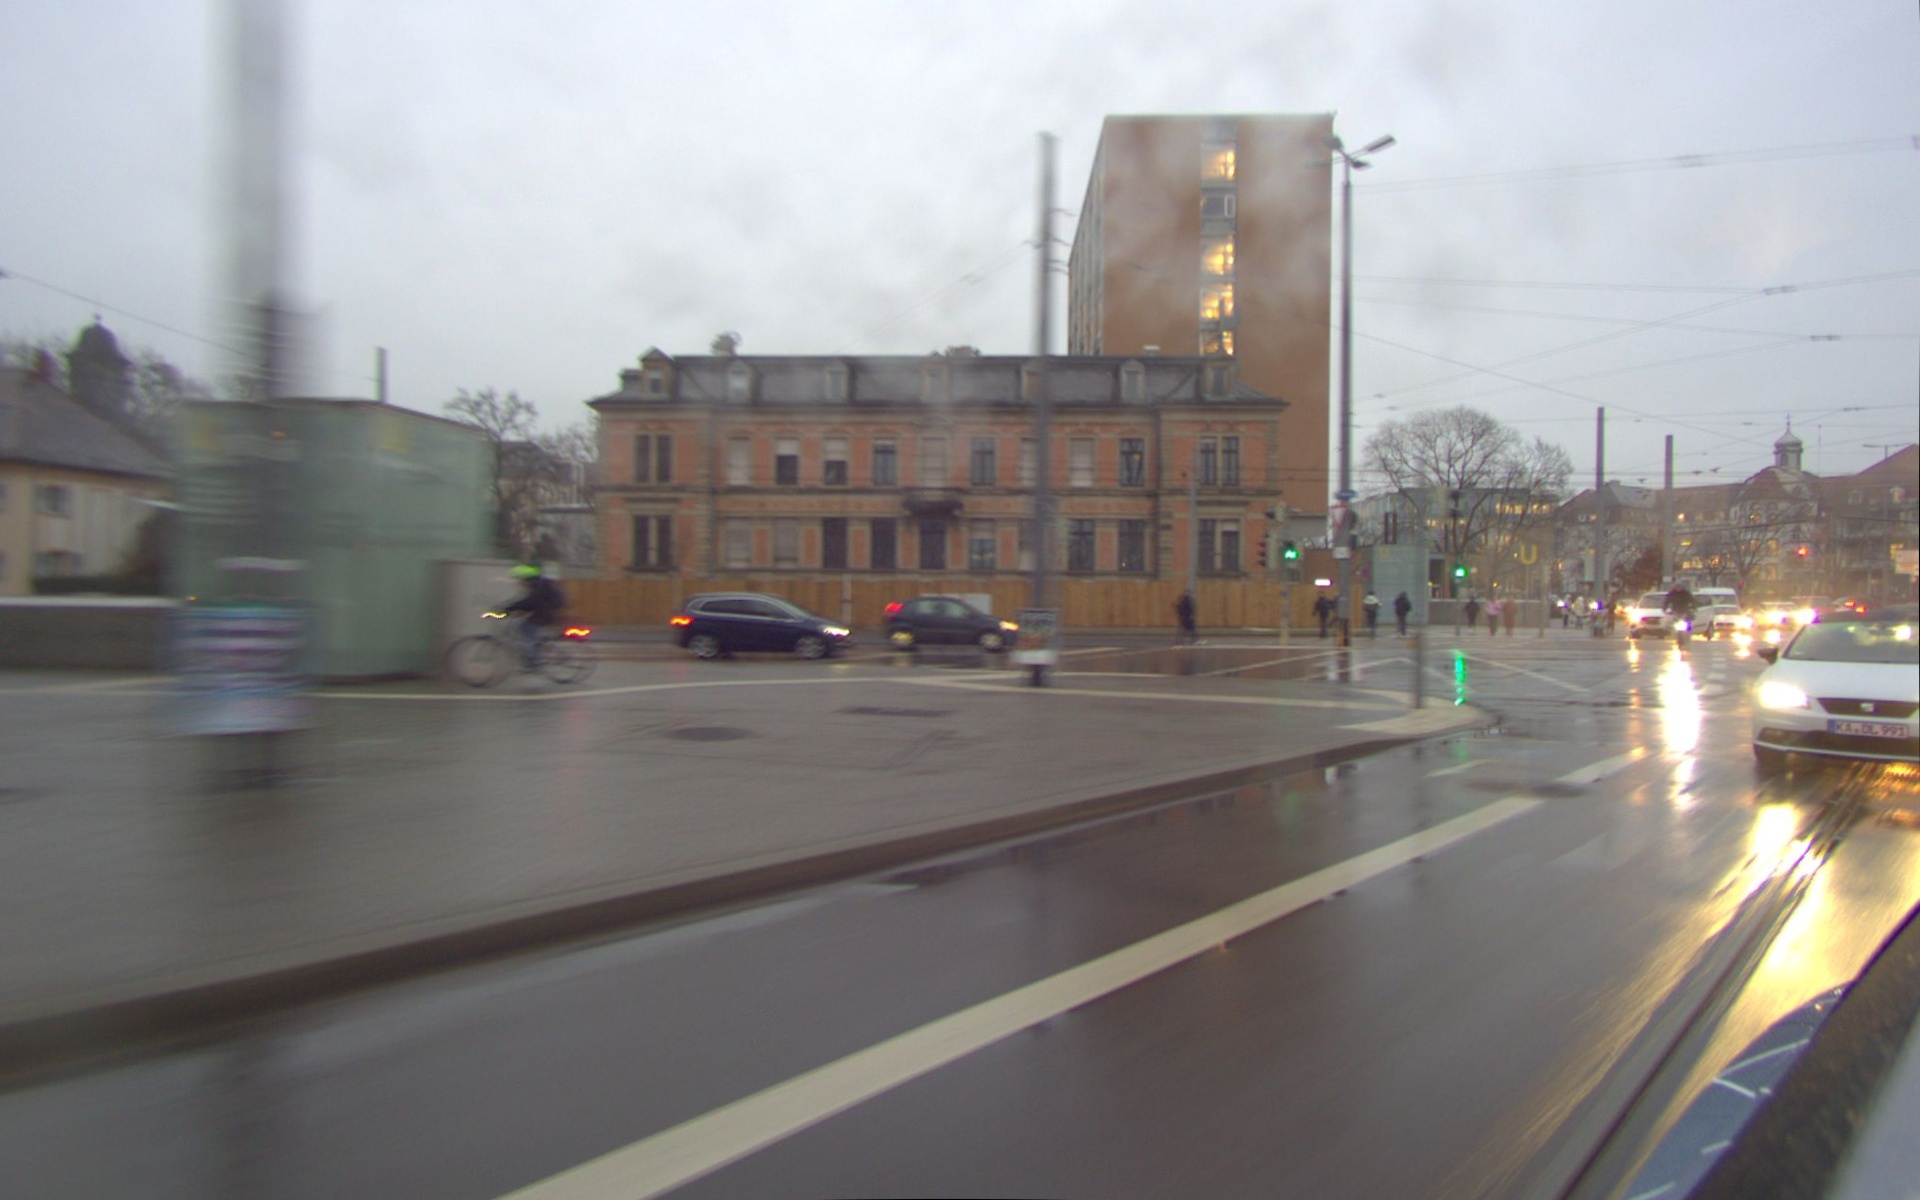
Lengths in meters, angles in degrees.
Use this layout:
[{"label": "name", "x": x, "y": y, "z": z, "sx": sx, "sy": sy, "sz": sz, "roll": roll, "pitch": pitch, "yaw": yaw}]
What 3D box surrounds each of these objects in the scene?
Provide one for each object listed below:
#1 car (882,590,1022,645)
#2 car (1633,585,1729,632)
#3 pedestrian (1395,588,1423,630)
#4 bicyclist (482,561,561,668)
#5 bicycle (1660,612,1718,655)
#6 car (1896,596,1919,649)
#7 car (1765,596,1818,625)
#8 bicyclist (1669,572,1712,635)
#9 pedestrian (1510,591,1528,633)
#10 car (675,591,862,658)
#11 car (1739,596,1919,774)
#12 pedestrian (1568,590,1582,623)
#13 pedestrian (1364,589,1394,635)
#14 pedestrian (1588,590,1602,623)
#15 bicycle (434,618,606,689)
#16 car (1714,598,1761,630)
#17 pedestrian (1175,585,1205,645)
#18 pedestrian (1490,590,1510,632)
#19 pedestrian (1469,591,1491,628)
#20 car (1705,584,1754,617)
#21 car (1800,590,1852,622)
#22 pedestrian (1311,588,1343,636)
[{"label": "car", "x": -0.187, "y": 0.475, "z": 28.087, "sx": 3.685, "sy": 1.419, "sz": 1.616, "roll": -1, "pitch": 0, "yaw": 8}, {"label": "car", "x": 30.317, "y": 0.314, "z": 42.507, "sx": 4.782, "sy": 1.861, "sz": 1.998, "roll": 0, "pitch": 1, "yaw": -38}, {"label": "pedestrian", "x": 17.671, "y": 0.344, "z": 39.815, "sx": 0.866, "sy": 1.640, "sz": 0.746, "roll": 0, "pitch": 0, "yaw": 14}, {"label": "bicyclist", "x": -6.199, "y": 0.198, "z": 14.308, "sx": 0.987, "sy": 1.460, "sz": 0.593, "roll": 0, "pitch": 0, "yaw": -27}, {"label": "bicycle", "x": 18.524, "y": 0.827, "z": 25.694, "sx": 2.173, "sy": 1.003, "sz": 0.725, "roll": 0, "pitch": 0, "yaw": -41}, {"label": "car", "x": 28.284, "y": 0.629, "z": 29.007, "sx": 3.931, "sy": 1.441, "sz": 1.795, "roll": 0, "pitch": 1, "yaw": -42}, {"label": "car", "x": 48.692, "y": 0.577, "z": 59.356, "sx": 1.810, "sy": 1.594, "sz": 3.956, "roll": 0, "pitch": 1, "yaw": 31}, {"label": "bicyclist", "x": 18.596, "y": 0.084, "z": 25.773, "sx": 0.771, "sy": 1.553, "sz": 0.726, "roll": 0, "pitch": 0, "yaw": -41}, {"label": "pedestrian", "x": 24.225, "y": 0.512, "z": 43.868, "sx": 0.503, "sy": 1.784, "sz": 0.636, "roll": 0, "pitch": 0, "yaw": 13}, {"label": "car", "x": -4.772, "y": 0.577, "z": 25.570, "sx": 4.310, "sy": 1.608, "sz": 1.888, "roll": 0, "pitch": 0, "yaw": 5}, {"label": "car", "x": 9.112, "y": 0.688, "z": 9.810, "sx": 3.931, "sy": 1.441, "sz": 1.795, "roll": 0, "pitch": 1, "yaw": -42}, {"label": "pedestrian", "x": 33.896, "y": 0.339, "z": 55.787, "sx": 0.634, "sy": 1.784, "sz": 0.504, "roll": 0, "pitch": 0, "yaw": 35}, {"label": "pedestrian", "x": 15.083, "y": 0.421, "z": 36.460, "sx": 0.866, "sy": 1.640, "sz": 0.746, "roll": 0, "pitch": 0, "yaw": 14}, {"label": "pedestrian", "x": 34.684, "y": 0.340, "z": 55.263, "sx": 0.634, "sy": 1.784, "sz": 0.504, "roll": 0, "pitch": 0, "yaw": 35}, {"label": "bicycle", "x": -6.199, "y": 0.732, "z": 14.306, "sx": 2.195, "sy": 0.918, "sz": 0.601, "roll": 0, "pitch": 0, "yaw": -28}, {"label": "car", "x": 38.897, "y": 0.669, "z": 50.703, "sx": 1.818, "sy": 1.527, "sz": 3.753, "roll": 0, "pitch": 1, "yaw": 37}, {"label": "pedestrian", "x": 6.395, "y": 0.400, "z": 28.089, "sx": 0.808, "sy": 1.640, "sz": 0.745, "roll": 0, "pitch": 0, "yaw": 14}, {"label": "pedestrian", "x": 23.771, "y": 0.484, "z": 44.558, "sx": 0.640, "sy": 1.845, "sz": 0.636, "roll": 0, "pitch": 0, "yaw": 14}, {"label": "pedestrian", "x": 23.324, "y": 0.422, "z": 45.420, "sx": 0.699, "sy": 1.640, "sz": 0.746, "roll": 0, "pitch": 0, "yaw": 14}, {"label": "car", "x": 45.093, "y": 0.007, "z": 59.362, "sx": 2.005, "sy": 1.842, "sz": 3.644, "roll": 0, "pitch": 0, "yaw": 34}, {"label": "car", "x": 54.499, "y": 0.347, "z": 63.731, "sx": 1.810, "sy": 1.957, "sz": 3.956, "roll": 0, "pitch": 1, "yaw": 31}, {"label": "pedestrian", "x": 13.405, "y": 0.425, "z": 36.933, "sx": 0.734, "sy": 1.697, "sz": 0.820, "roll": 0, "pitch": 0, "yaw": -33}]
